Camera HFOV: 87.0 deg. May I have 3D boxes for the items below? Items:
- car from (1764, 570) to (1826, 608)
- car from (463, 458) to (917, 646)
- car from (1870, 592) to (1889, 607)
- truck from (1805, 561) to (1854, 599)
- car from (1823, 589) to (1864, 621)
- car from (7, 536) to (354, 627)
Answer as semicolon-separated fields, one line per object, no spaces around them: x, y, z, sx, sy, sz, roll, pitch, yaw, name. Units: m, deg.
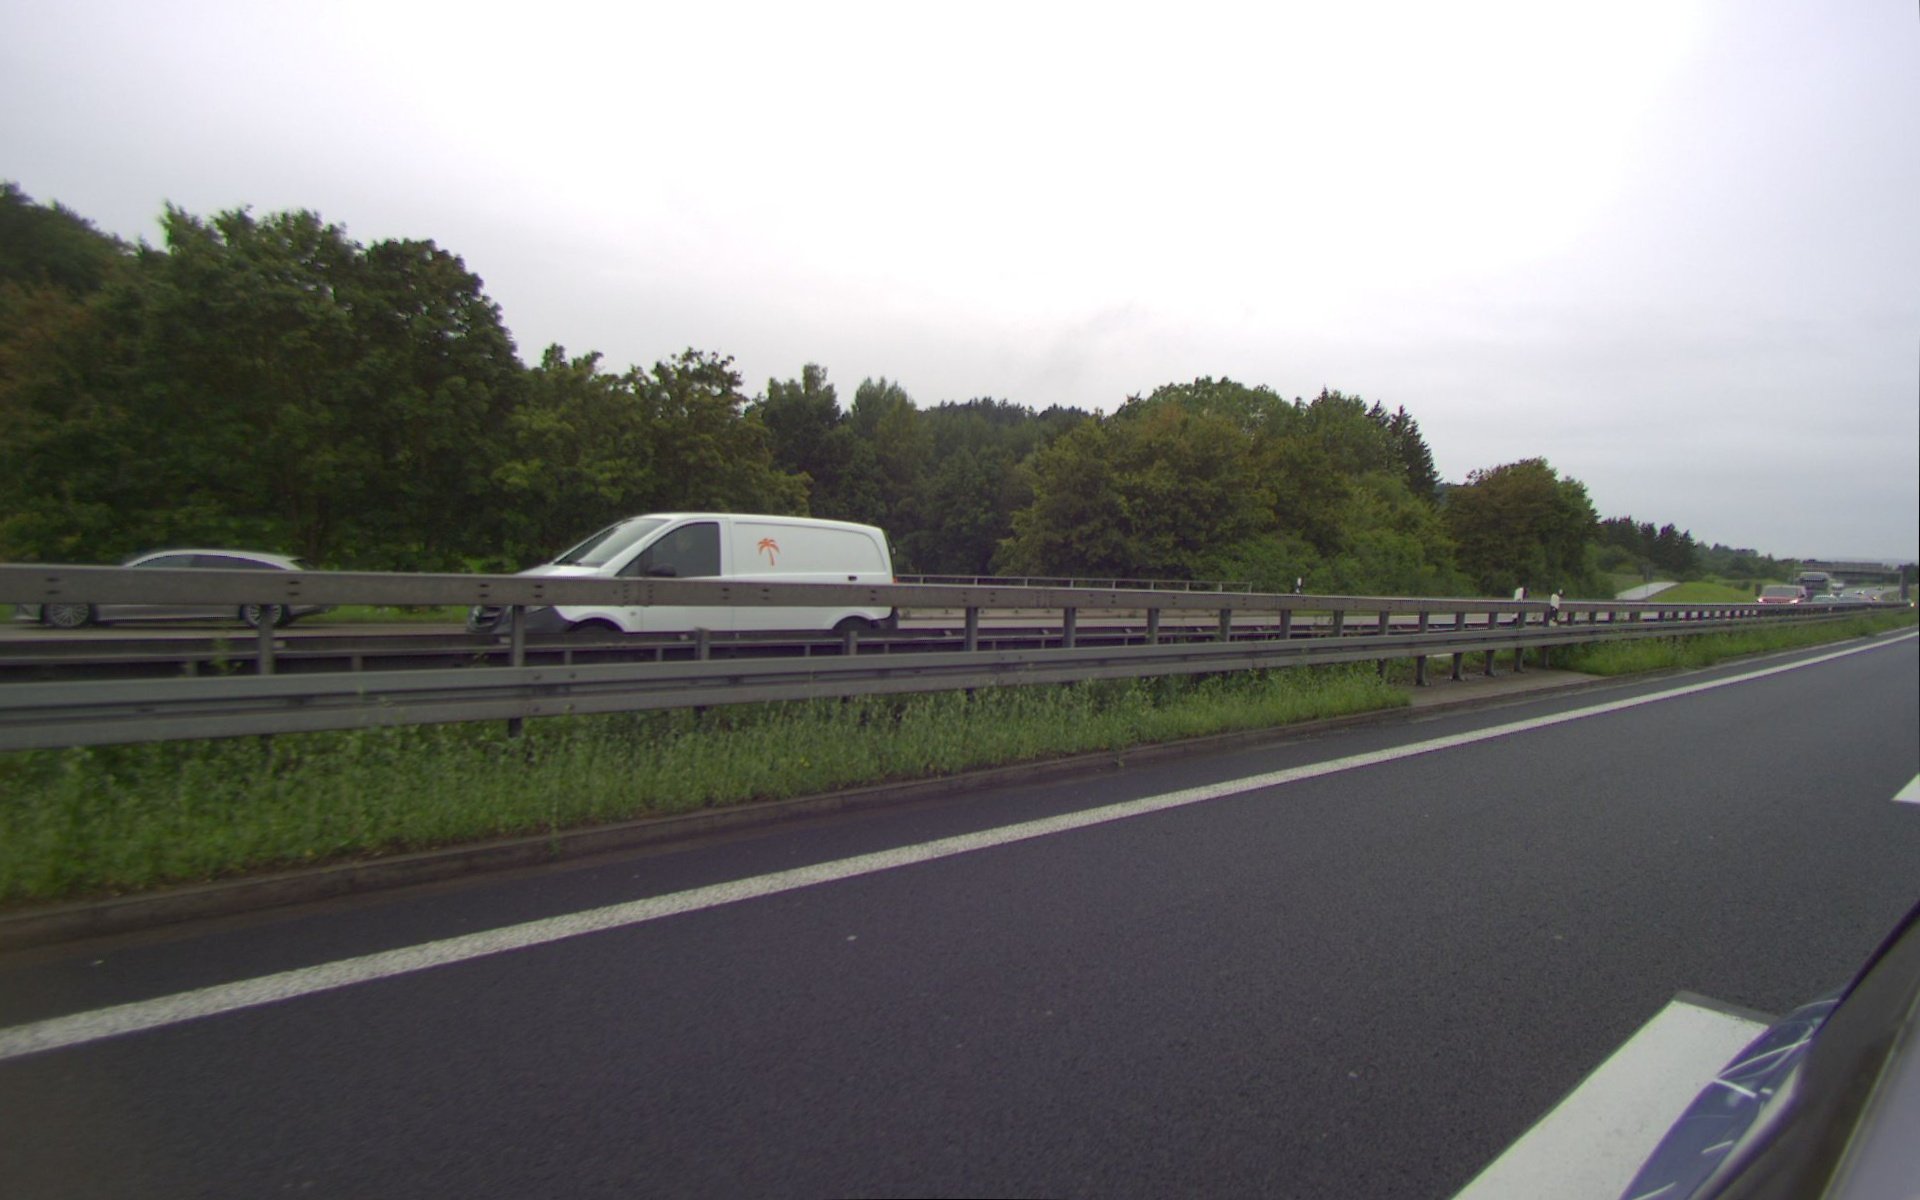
47.644;-0.644;57.692;4.992;2.038;2.127;-1;2;-43;car
-2.906;-0.484;11.527;4.636;1.714;1.913;0;2;-41;car
132.403;-0.111;145.738;1.746;2.038;4.433;2;2;40;car
95.284;-2.182;110.798;9.856;3.949;2.796;-1;2;-42;truck
60.368;0.319;69.121;4.424;2.038;1.749;-1;2;-44;car
-13.665;-0.323;18.152;4.612;1.473;1.909;0;1;-25;car
